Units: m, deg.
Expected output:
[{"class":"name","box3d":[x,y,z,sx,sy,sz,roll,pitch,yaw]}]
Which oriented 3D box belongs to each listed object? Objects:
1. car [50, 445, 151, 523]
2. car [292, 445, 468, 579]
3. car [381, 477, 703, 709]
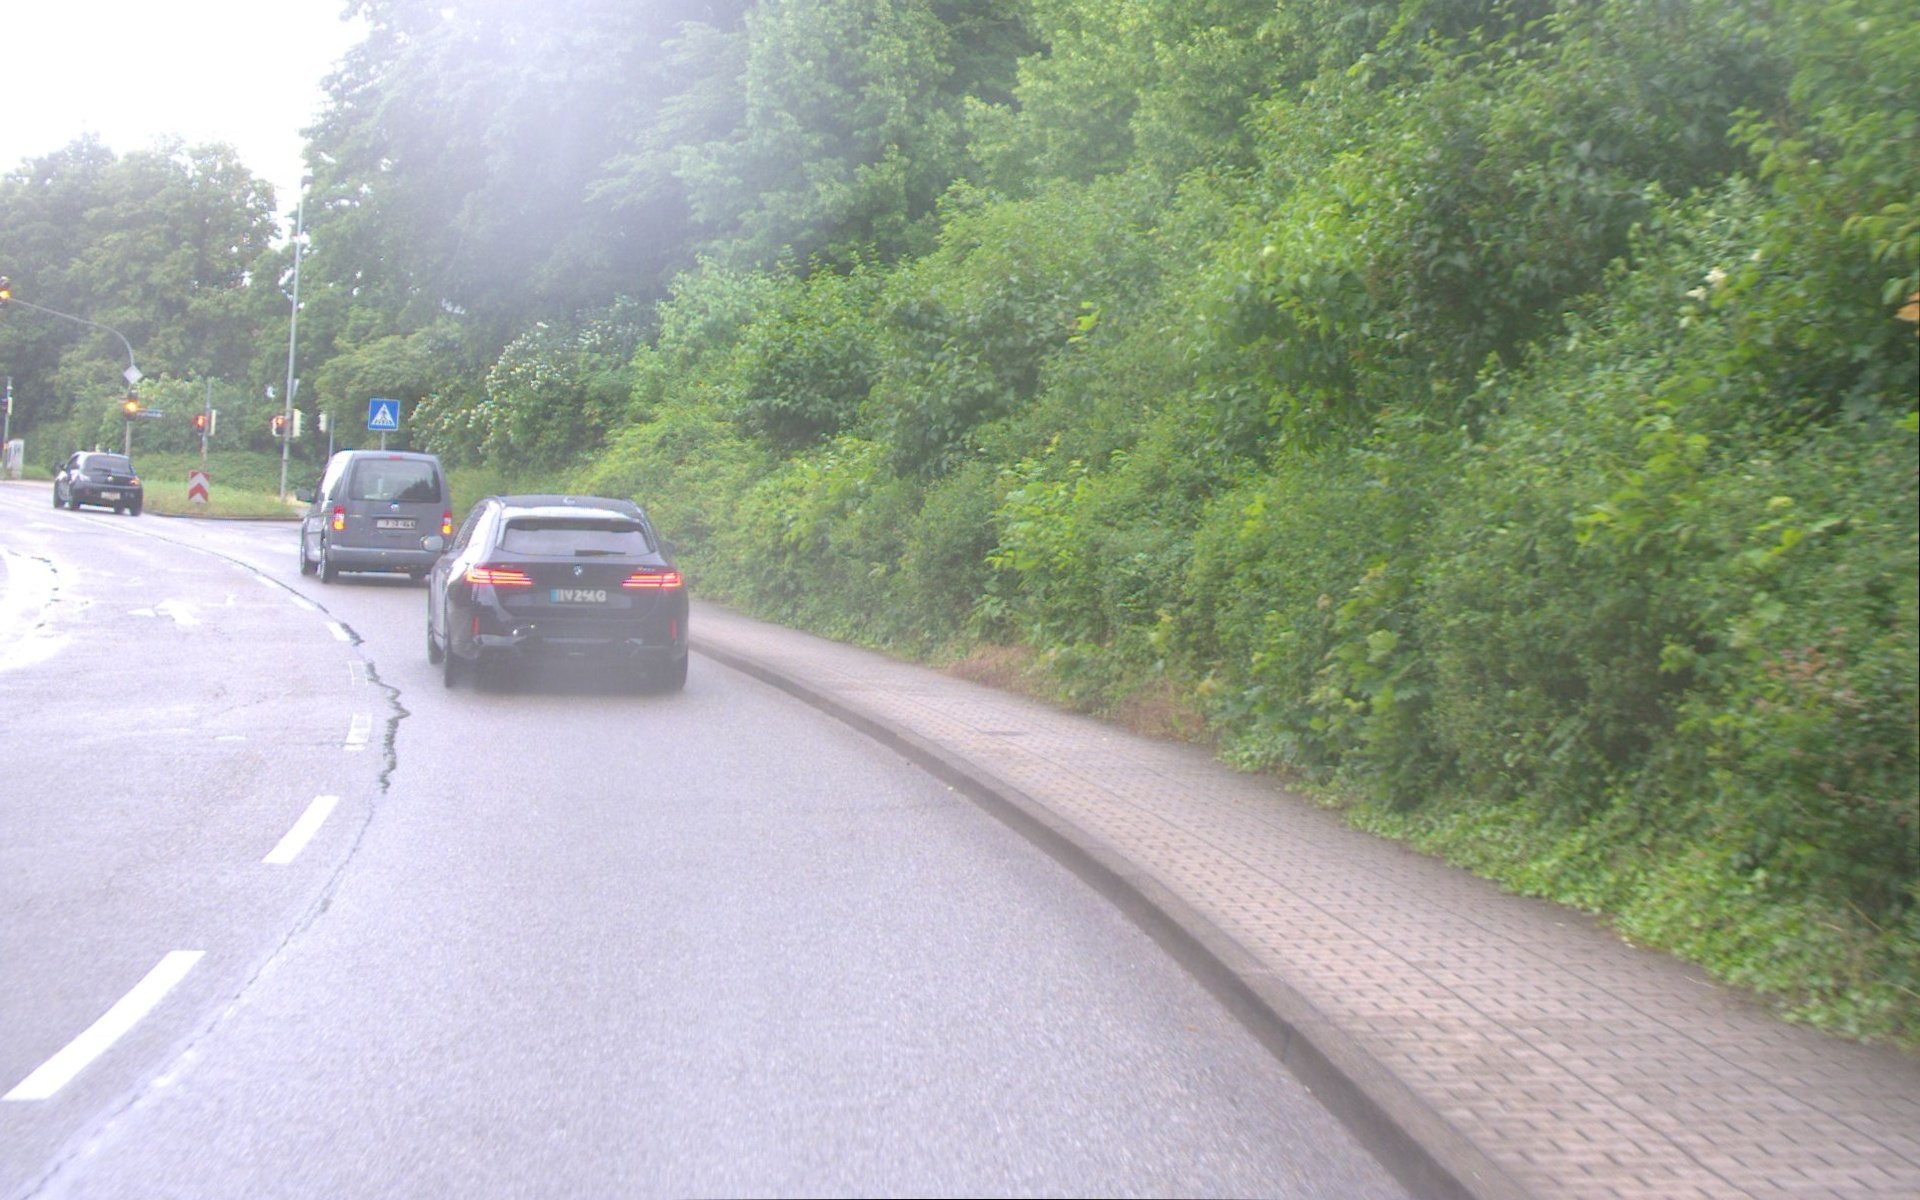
[{"class":"car","box3d":[-20.969,-2.792,83.784,1.850,1.656,4.001,3,-1,-21]},{"class":"car","box3d":[-8.078,-1.230,47.623,1.993,1.742,4.002,1,2,-15]},{"class":"car","box3d":[-3.491,-0.121,27.932,1.993,1.580,4.665,2,2,-14]}]
